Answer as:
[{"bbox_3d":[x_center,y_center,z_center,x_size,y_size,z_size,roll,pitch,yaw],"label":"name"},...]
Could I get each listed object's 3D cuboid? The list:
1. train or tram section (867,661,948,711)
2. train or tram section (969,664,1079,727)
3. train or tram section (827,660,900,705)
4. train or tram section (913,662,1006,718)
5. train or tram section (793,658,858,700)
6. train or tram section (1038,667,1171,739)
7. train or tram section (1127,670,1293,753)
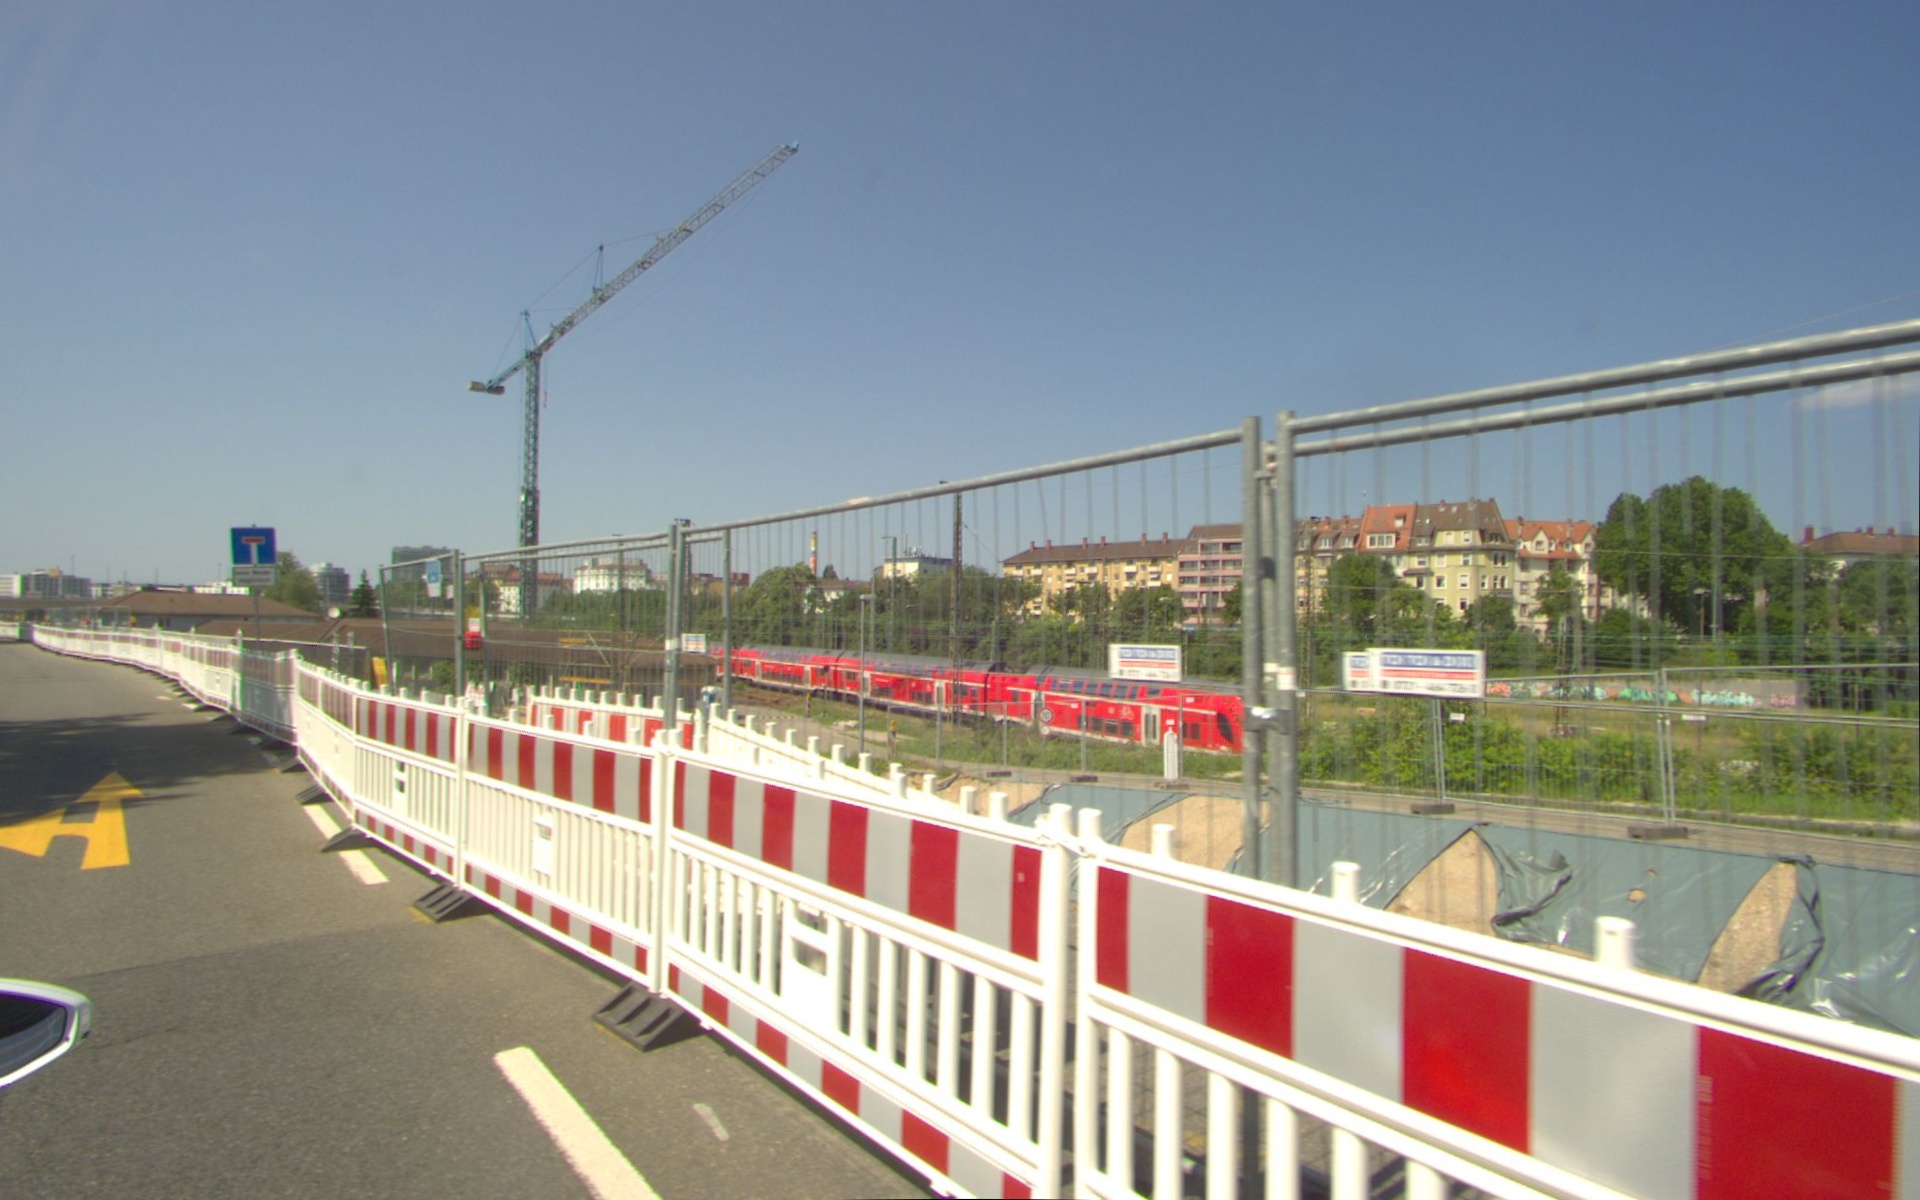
[{"bbox_3d":[-4.511,7.071,83.292,2.982,3.748,8.932,4,-4,-29],"label":"train or tram section"},{"bbox_3d":[4.147,6.353,67.727,2.982,3.756,8.932,4,-4,-29],"label":"train or tram section"},{"bbox_3d":[-8.871,7.415,91.003,2.983,3.748,8.929,4,-4,-30],"label":"train or tram section"},{"bbox_3d":[-0.182,6.687,75.506,2.982,3.748,8.932,4,-4,-29],"label":"train or tram section"},{"bbox_3d":[-13.344,7.737,98.726,2.983,3.748,8.929,4,-4,-30],"label":"train or tram section"},{"bbox_3d":[8.457,6.038,59.966,2.982,3.758,8.932,4,-4,-29],"label":"train or tram section"},{"bbox_3d":[12.793,5.691,52.238,2.983,3.746,8.931,4,-4,-29],"label":"train or tram section"}]
